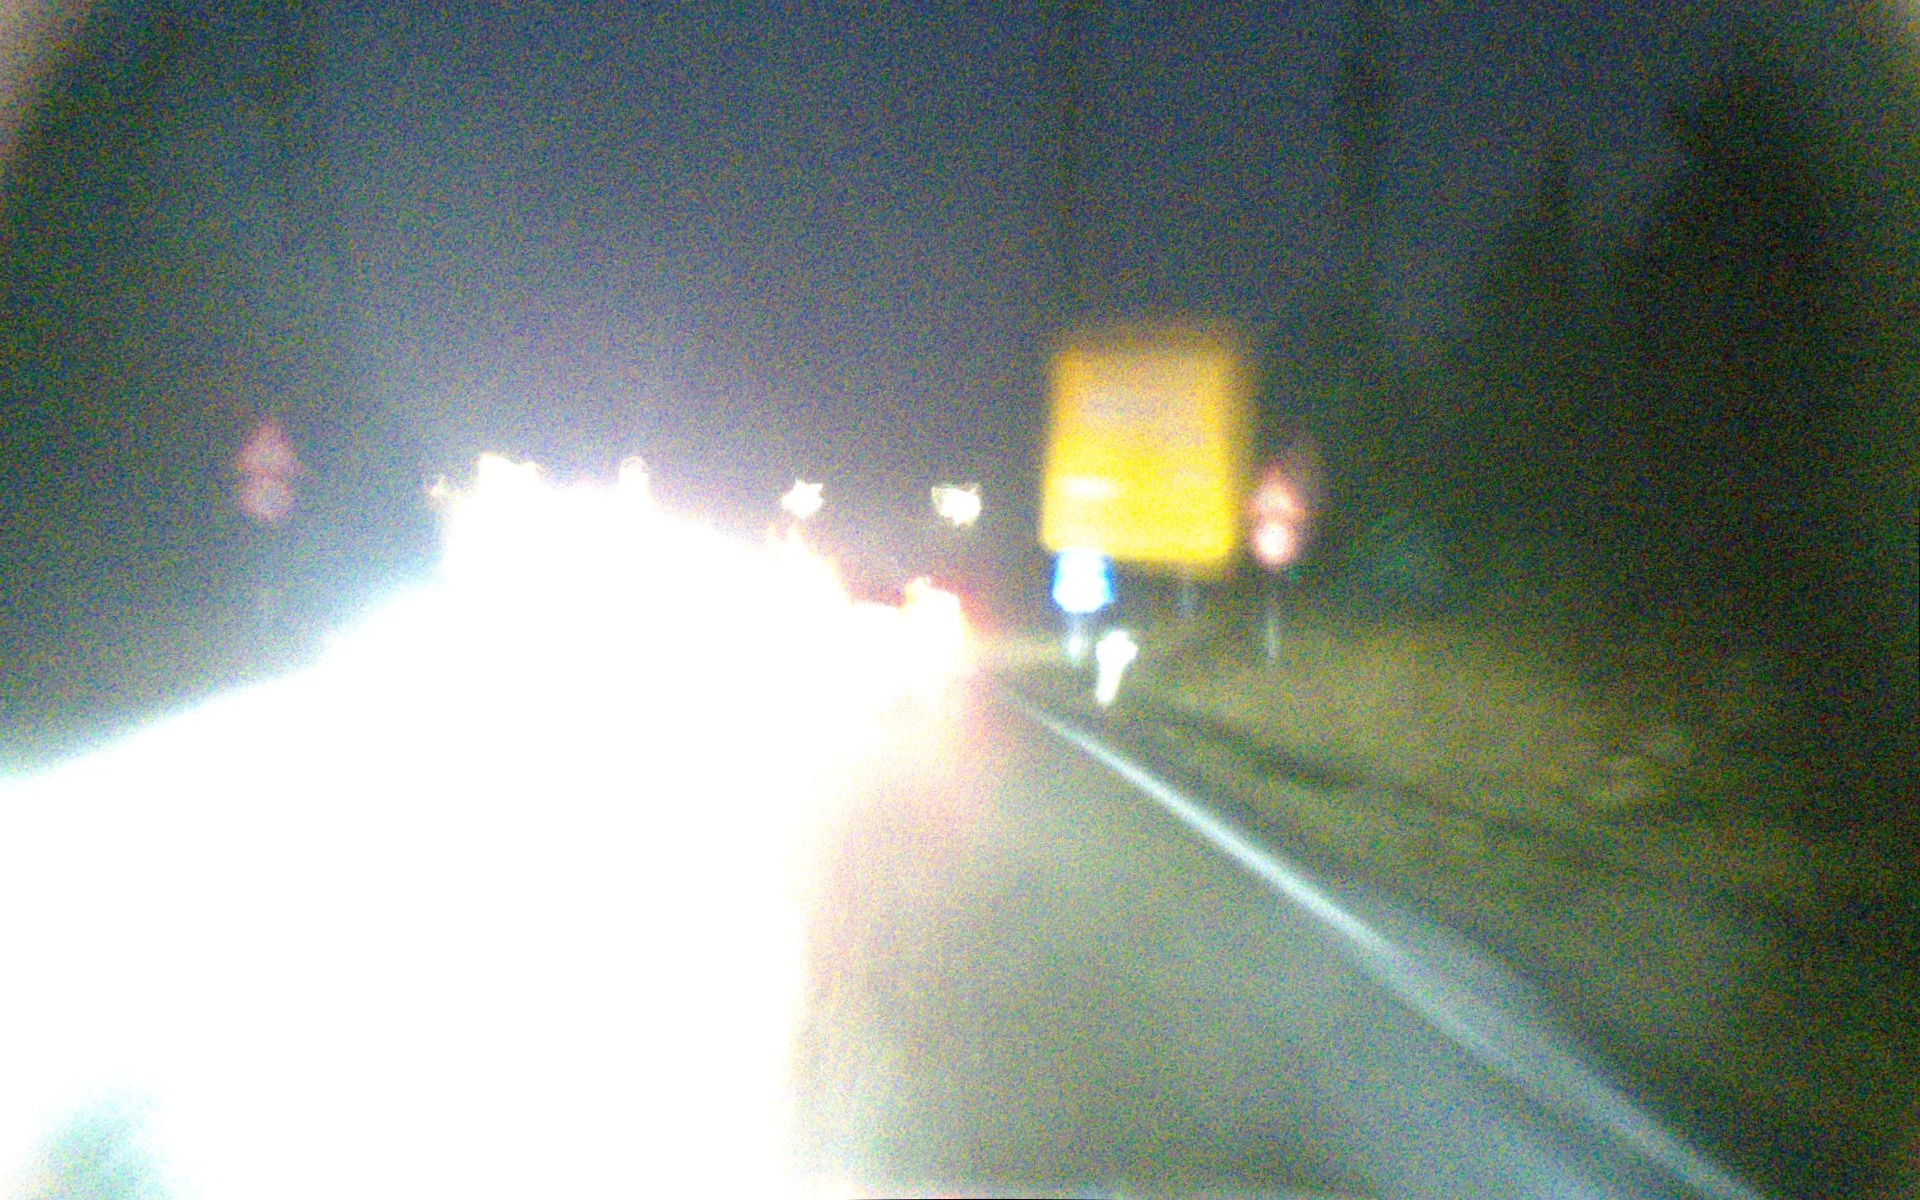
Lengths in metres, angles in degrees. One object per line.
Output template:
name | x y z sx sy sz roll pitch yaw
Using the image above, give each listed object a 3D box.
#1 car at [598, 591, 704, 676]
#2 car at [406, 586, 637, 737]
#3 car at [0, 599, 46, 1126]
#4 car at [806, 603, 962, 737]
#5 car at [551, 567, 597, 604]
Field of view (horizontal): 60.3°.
car | -5.571 0.566 29.910 1.739 1.413 4.222 1 0 -11
car | -4.546 0.584 17.713 1.737 1.413 4.107 1 0 -6
car | -3.548 0.745 2.735 1.735 1.509 4.379 1 0 -2
car | -1.024 0.890 23.490 1.953 1.656 4.983 1 0 -1
car | -19.168 -0.714 82.007 1.831 1.778 4.937 1 0 -18
